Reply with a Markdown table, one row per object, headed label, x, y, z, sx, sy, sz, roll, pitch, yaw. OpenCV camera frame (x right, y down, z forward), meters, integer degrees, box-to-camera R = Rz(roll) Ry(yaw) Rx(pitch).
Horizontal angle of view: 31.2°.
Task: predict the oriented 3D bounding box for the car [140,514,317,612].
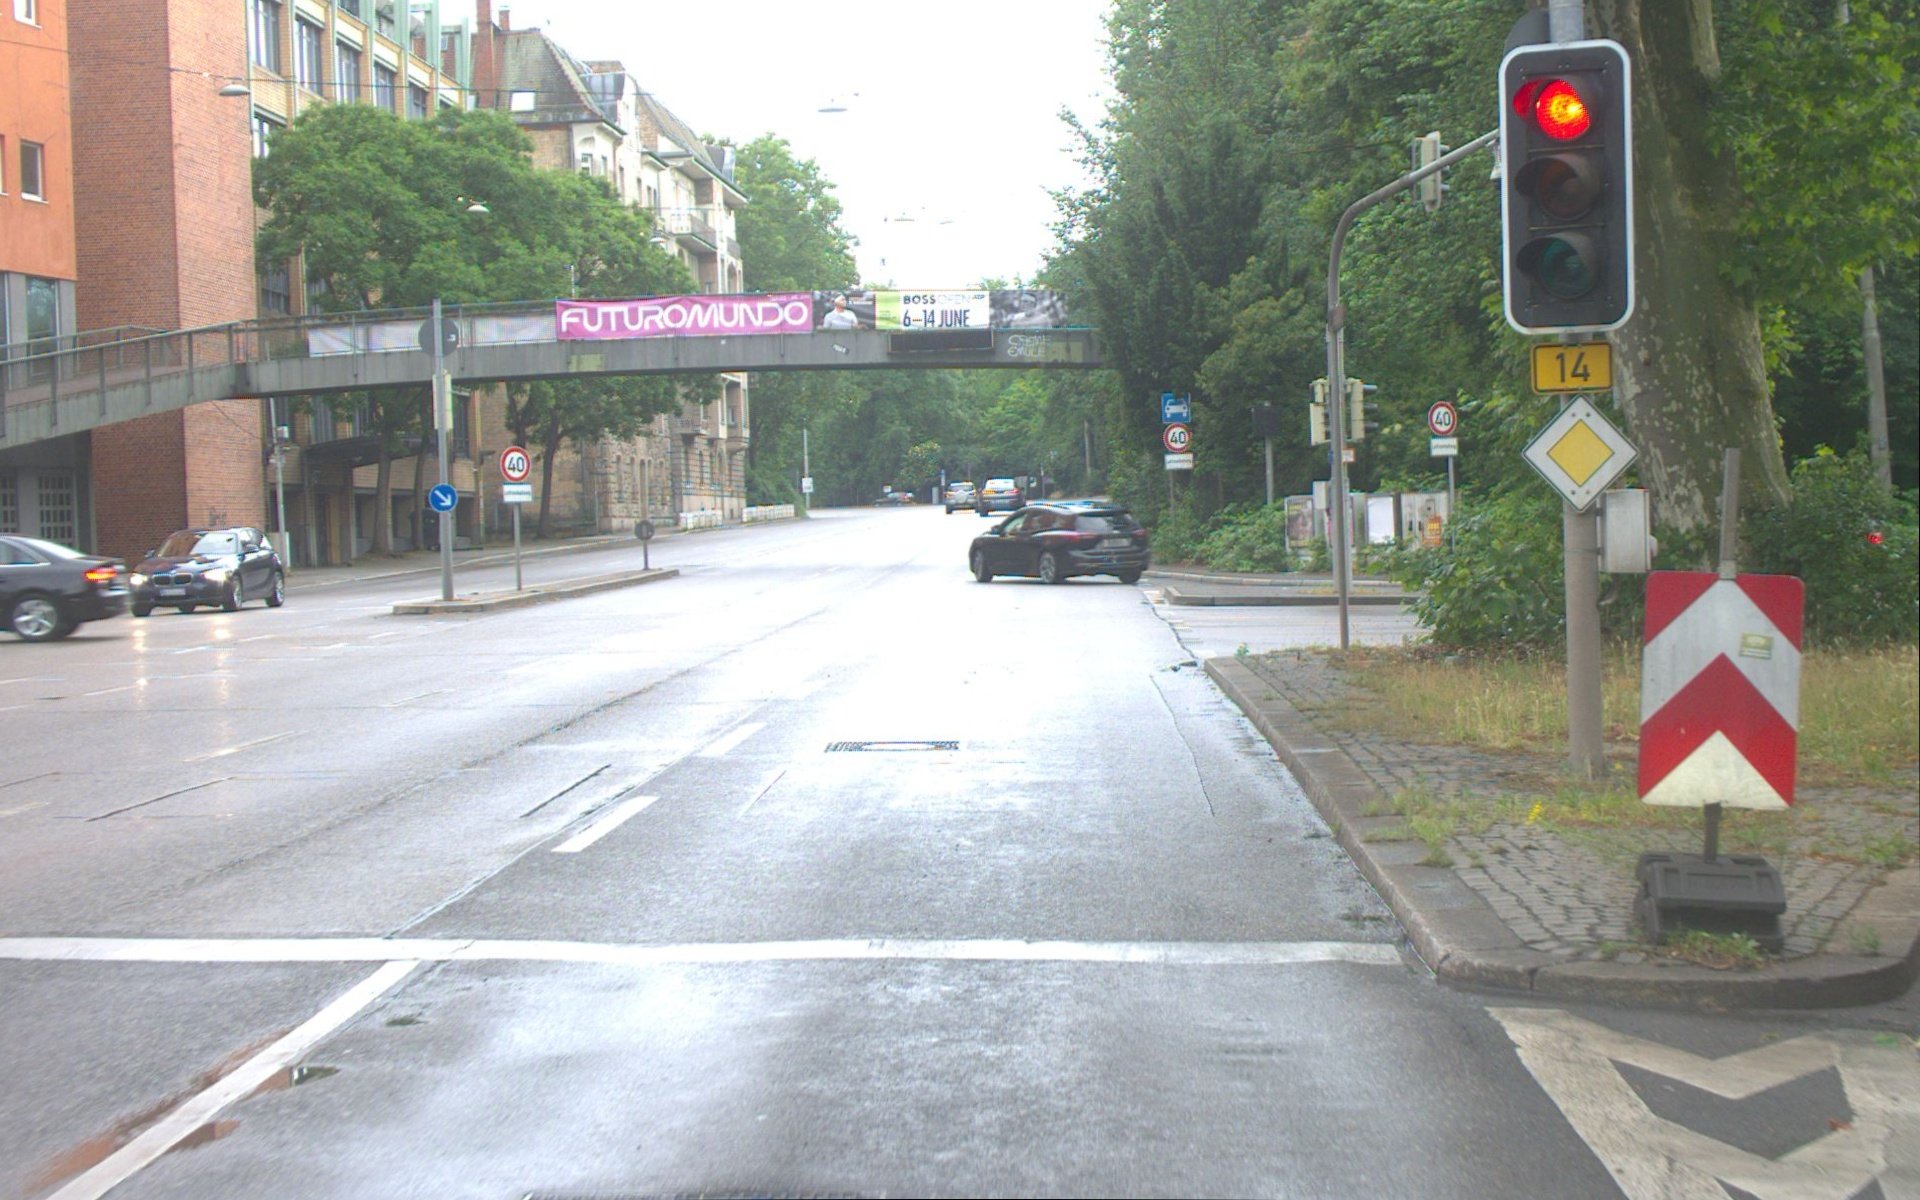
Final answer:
| label | x | y | z | sx | sy | sz | roll | pitch | yaw |
| --- | --- | --- | --- | --- | --- | --- | --- | --- | --- |
| car | -12.193 | -0.648 | 57.514 | 1.993 | 1.514 | 4.000 | -2 | 1 | 1 |

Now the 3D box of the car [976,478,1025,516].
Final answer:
| label | x | y | z | sx | sy | sz | roll | pitch | yaw |
| --- | --- | --- | --- | --- | --- | --- | --- | --- | --- |
| car | 1.903 | -4.860 | 161.970 | 2.120 | 1.729 | 4.199 | 0 | 2 | -2 |

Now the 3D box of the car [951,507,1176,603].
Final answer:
| label | x | y | z | sx | sy | sz | roll | pitch | yaw |
| --- | --- | --- | --- | --- | --- | --- | --- | --- | --- |
| car | 1.822 | -0.841 | 62.098 | 1.875 | 1.632 | 4.525 | -2 | 2 | -31 |

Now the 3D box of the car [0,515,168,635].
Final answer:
| label | x | y | z | sx | sy | sz | roll | pitch | yaw |
| --- | --- | --- | --- | --- | --- | --- | --- | --- | --- |
| car | -12.617 | -0.287 | 43.989 | 4.602 | 1.446 | 1.774 | -2 | 1 | -6 |

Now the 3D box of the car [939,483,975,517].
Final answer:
| label | x | y | z | sx | sy | sz | roll | pitch | yaw |
| --- | --- | --- | --- | --- | --- | --- | --- | --- | --- |
| car | -0.142 | -5.256 | 180.661 | 1.763 | 1.691 | 3.706 | -3 | 1 | 1 |
